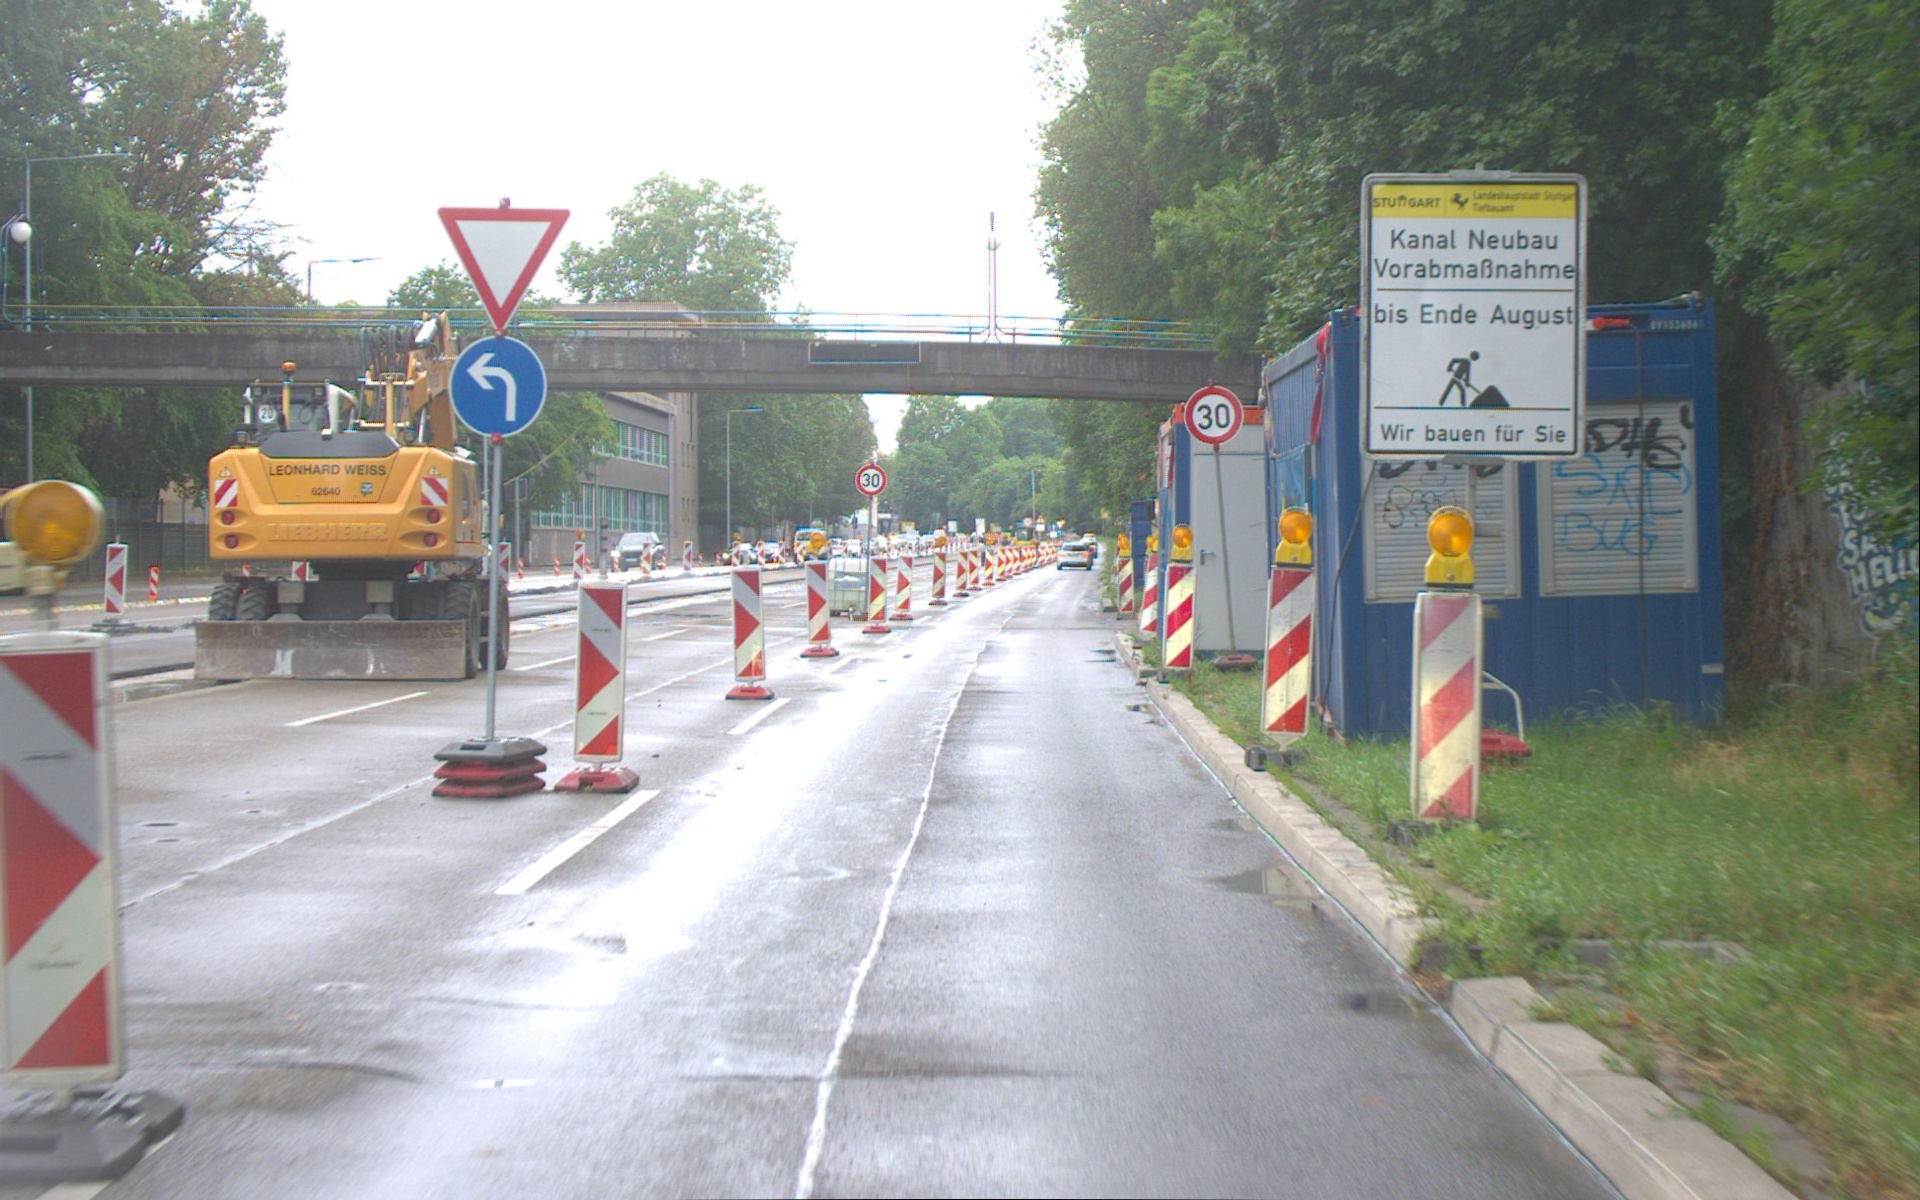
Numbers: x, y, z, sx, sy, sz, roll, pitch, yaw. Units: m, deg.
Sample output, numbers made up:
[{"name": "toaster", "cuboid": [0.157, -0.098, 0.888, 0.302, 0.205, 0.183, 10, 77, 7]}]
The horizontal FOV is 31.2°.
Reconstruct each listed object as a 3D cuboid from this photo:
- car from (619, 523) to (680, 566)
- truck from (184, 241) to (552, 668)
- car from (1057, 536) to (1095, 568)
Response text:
[{"name": "car", "cuboid": [-13.318, -2.397, 147.620, 1.971, 1.800, 4.607, 0, 1, 3]}, {"name": "truck", "cuboid": [-6.606, -1.578, 40.050, 2.897, 4.244, 10.757, 1, 1, -3]}, {"name": "car", "cuboid": [6.228, -2.573, 183.794, 1.993, 1.634, 4.000, 0, 1, 2]}]
